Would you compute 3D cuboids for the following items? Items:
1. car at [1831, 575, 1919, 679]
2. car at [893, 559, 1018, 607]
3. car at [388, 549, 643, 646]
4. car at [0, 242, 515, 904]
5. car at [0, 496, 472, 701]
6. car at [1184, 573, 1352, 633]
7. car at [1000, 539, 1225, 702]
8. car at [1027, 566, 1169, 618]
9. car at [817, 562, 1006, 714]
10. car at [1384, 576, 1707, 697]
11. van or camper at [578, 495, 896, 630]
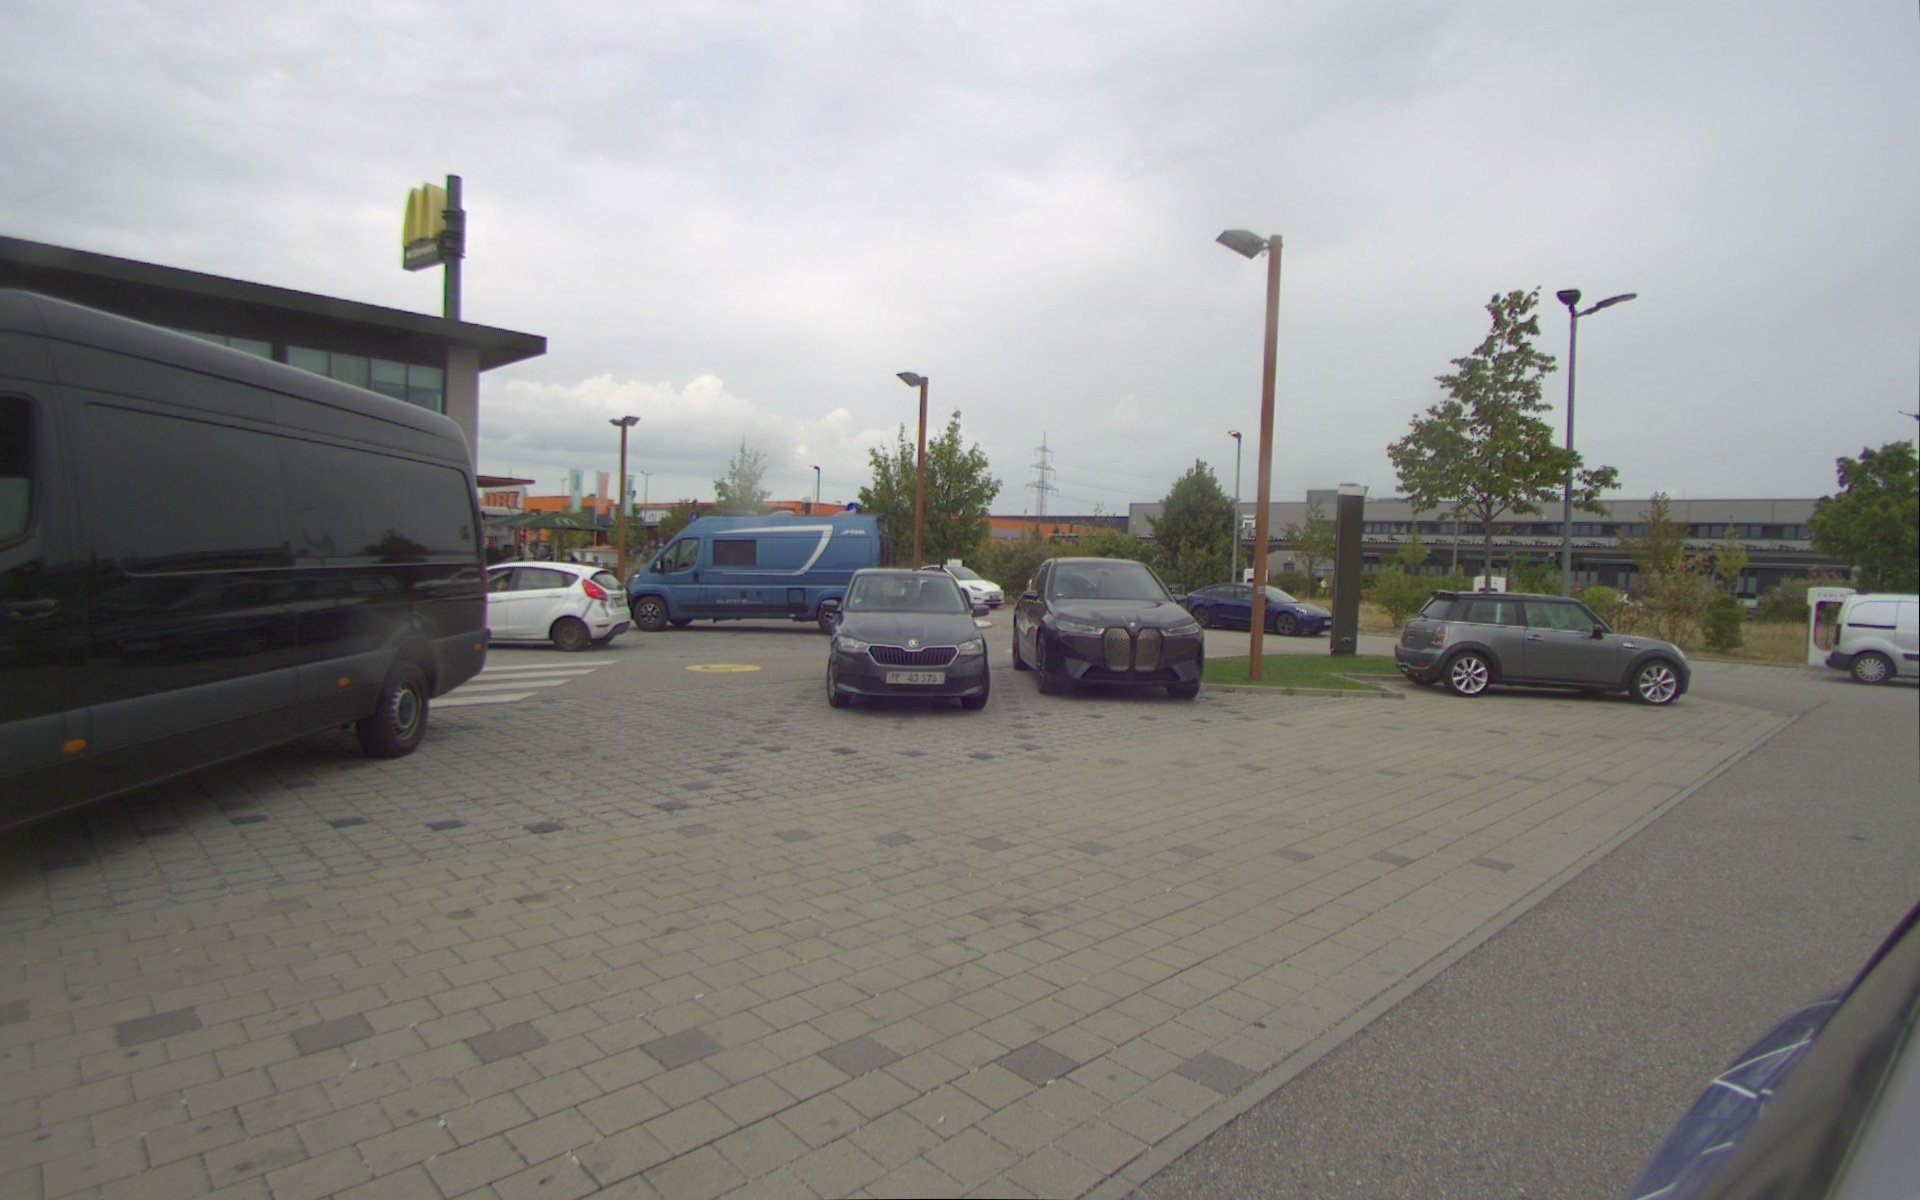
[{"bbox_3d":[19.438,0.597,19.144,4.326,1.911,1.915,4,2,45],"label":"car"},{"bbox_3d":[-0.249,-0.716,39.820,2.039,1.621,4.935,0,3,-44],"label":"car"},{"bbox_3d":[-7.375,-0.057,17.074,3.504,1.471,1.844,1,1,-2],"label":"car"},{"bbox_3d":[-4.836,-0.160,5.469,2.033,2.585,7.018,1,1,-3],"label":"car"},{"bbox_3d":[-7.526,-0.032,10.380,1.804,1.710,4.128,4,2,40],"label":"car"},{"bbox_3d":[9.077,0.034,30.119,1.803,1.476,4.449,-1,4,-42],"label":"car"},{"bbox_3d":[1.804,0.158,13.764,1.961,1.749,4.902,2,1,-4],"label":"car"},{"bbox_3d":[4.662,-0.324,34.680,4.465,1.572,2.040,4,3,44],"label":"car"},{"bbox_3d":[-0.720,0.298,11.699,1.795,1.429,4.007,1,2,-8],"label":"car"},{"bbox_3d":[8.035,0.452,14.148,3.465,1.393,1.608,3,1,5],"label":"car"},{"bbox_3d":[-4.736,-0.821,22.090,6.455,2.734,2.171,1,1,4],"label":"van or camper"}]
